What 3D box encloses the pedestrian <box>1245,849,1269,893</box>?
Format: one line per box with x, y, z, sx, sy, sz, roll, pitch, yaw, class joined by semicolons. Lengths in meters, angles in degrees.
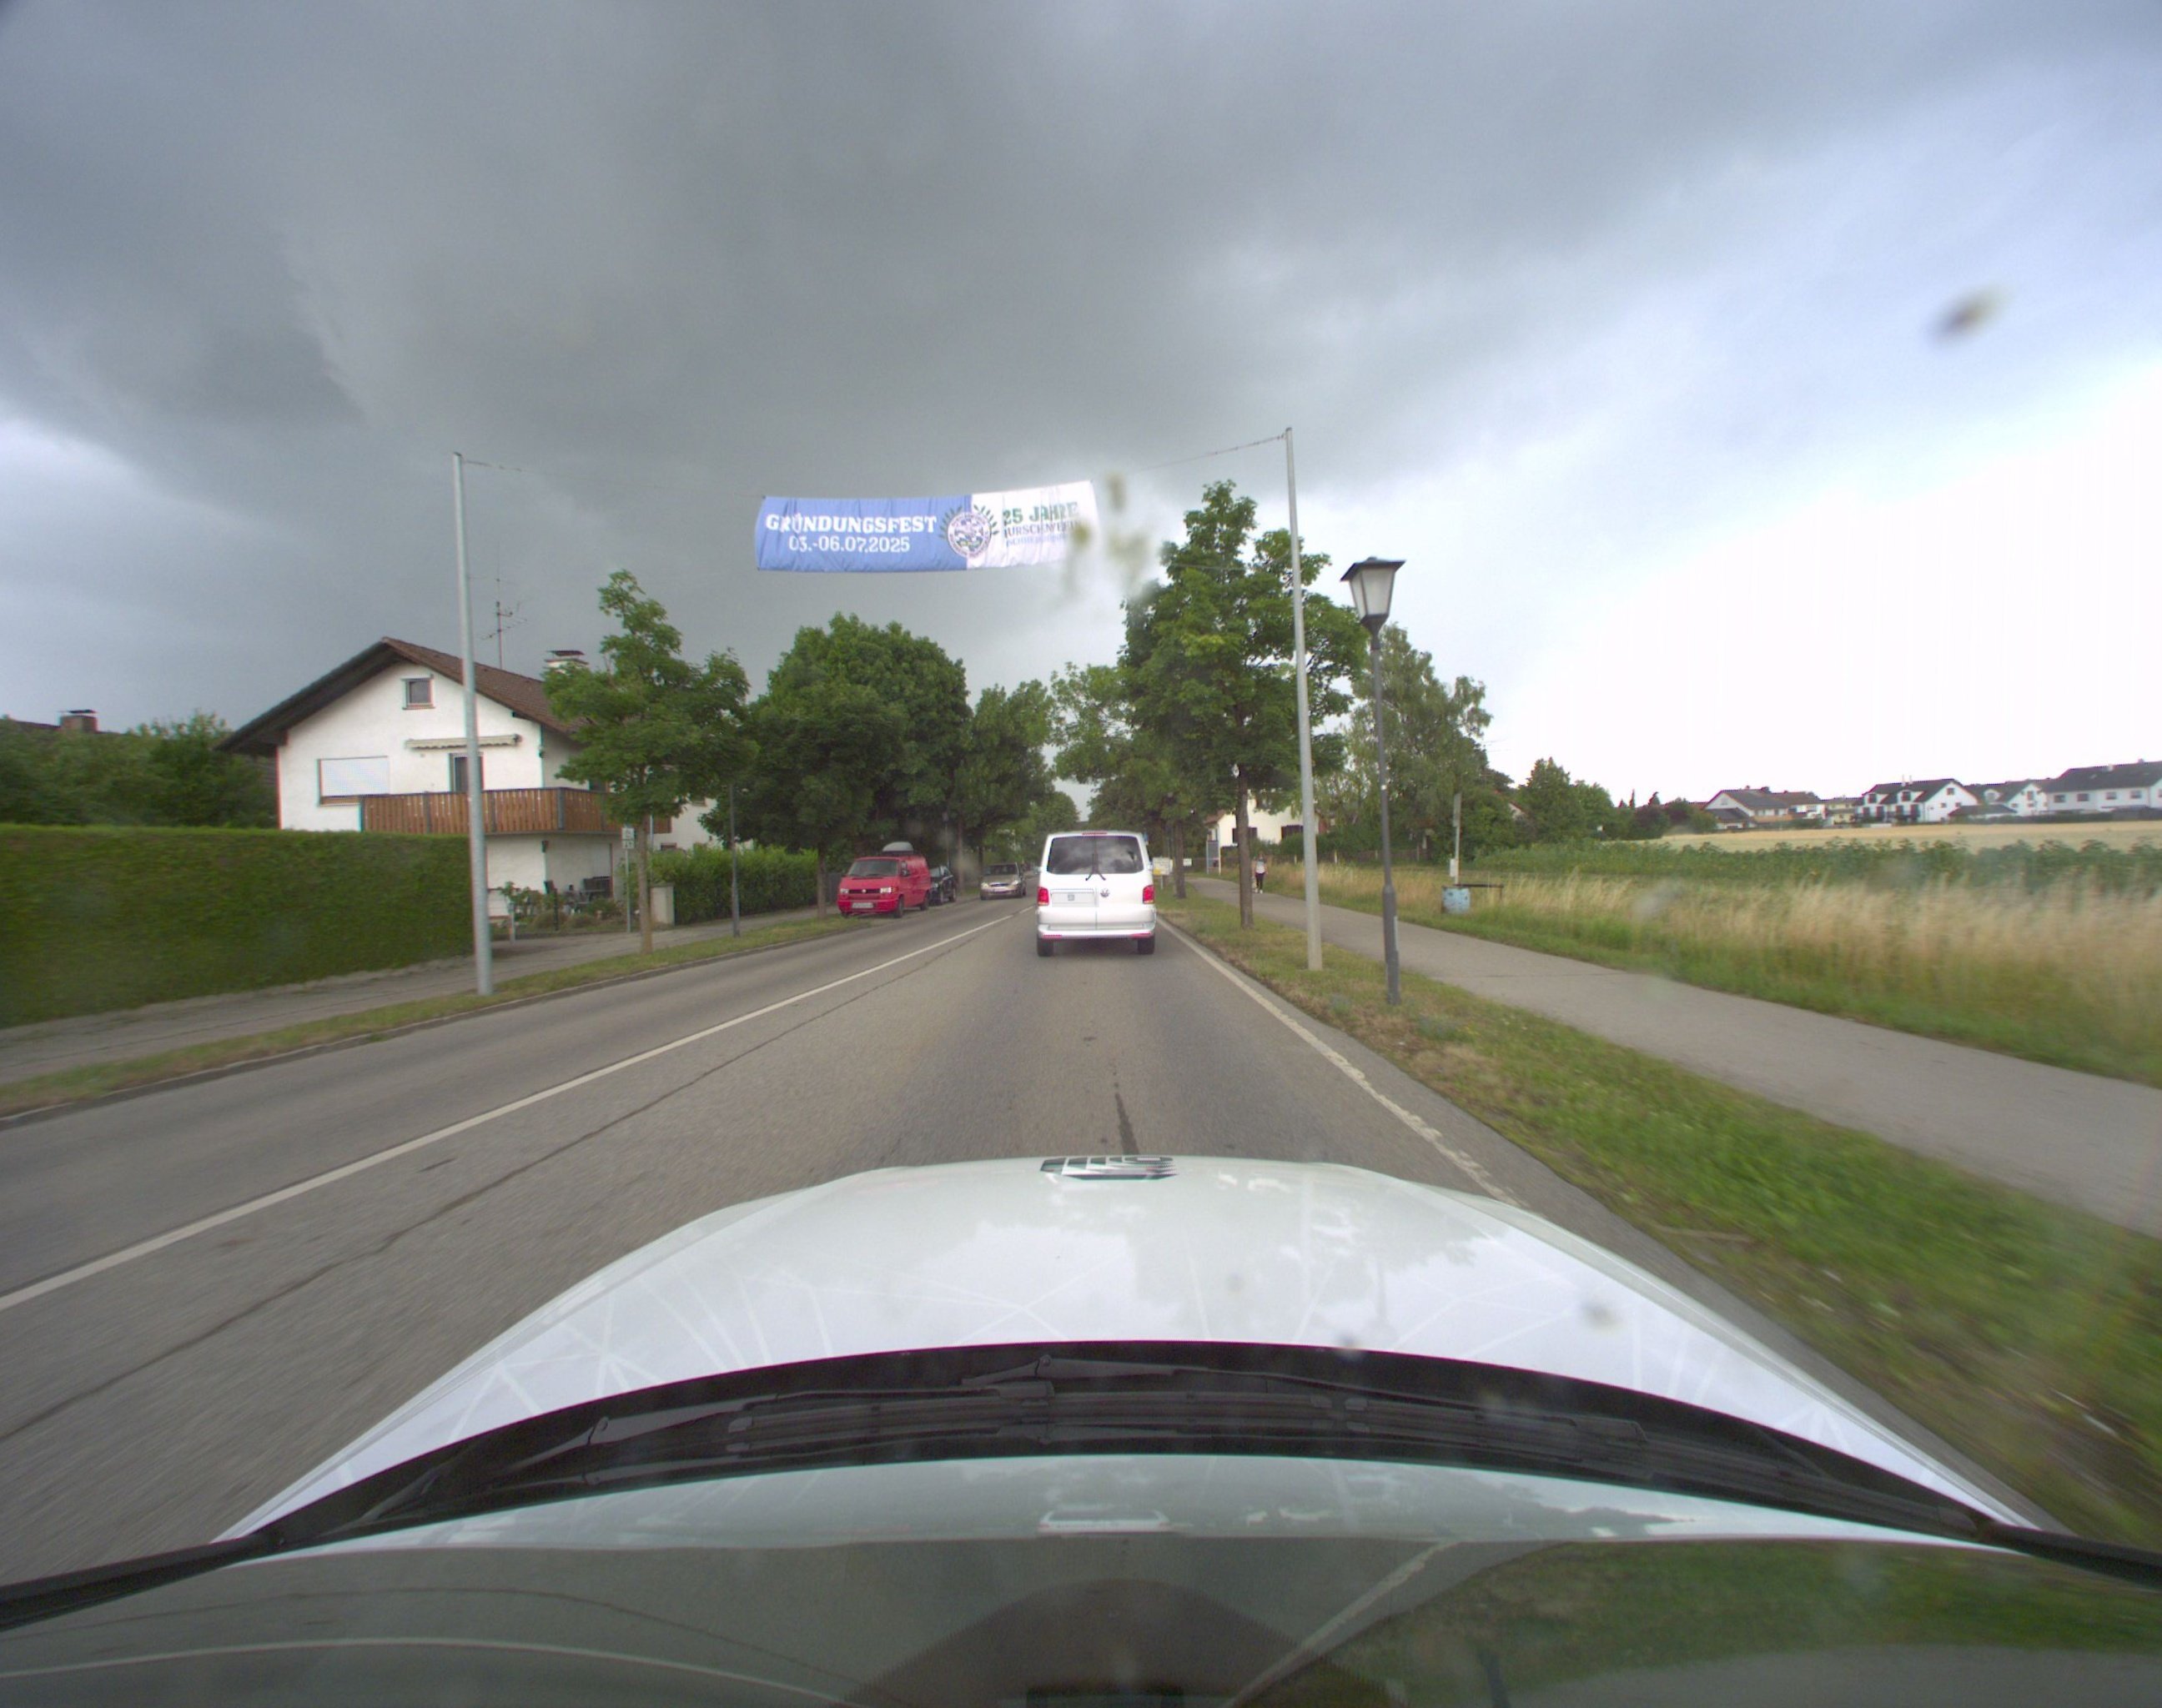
7.175;0.703;33.219;0.833;1.755;0.871;-2;-1;6;pedestrian

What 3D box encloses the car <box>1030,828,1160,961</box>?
0.237;0.620;14.007;1.881;1.912;4.000;-1;-1;1;car

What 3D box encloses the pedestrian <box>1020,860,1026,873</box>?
-6.860;1.490;96.285;0.621;1.549;0.522;-1;-1;-3;pedestrian

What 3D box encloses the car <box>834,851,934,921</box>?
-6.227;0.938;26.367;1.823;2.030;5.048;-1;0;2;car

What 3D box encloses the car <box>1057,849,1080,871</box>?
-1.141;0.611;77.649;1.986;2.014;4.001;-1;-1;1;car

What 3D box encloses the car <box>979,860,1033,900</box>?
-3.258;1.103;35.868;1.699;1.532;3.512;-4;0;4;car

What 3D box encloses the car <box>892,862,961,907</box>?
-6.028;1.143;32.262;1.765;1.598;4.239;-1;0;2;car
